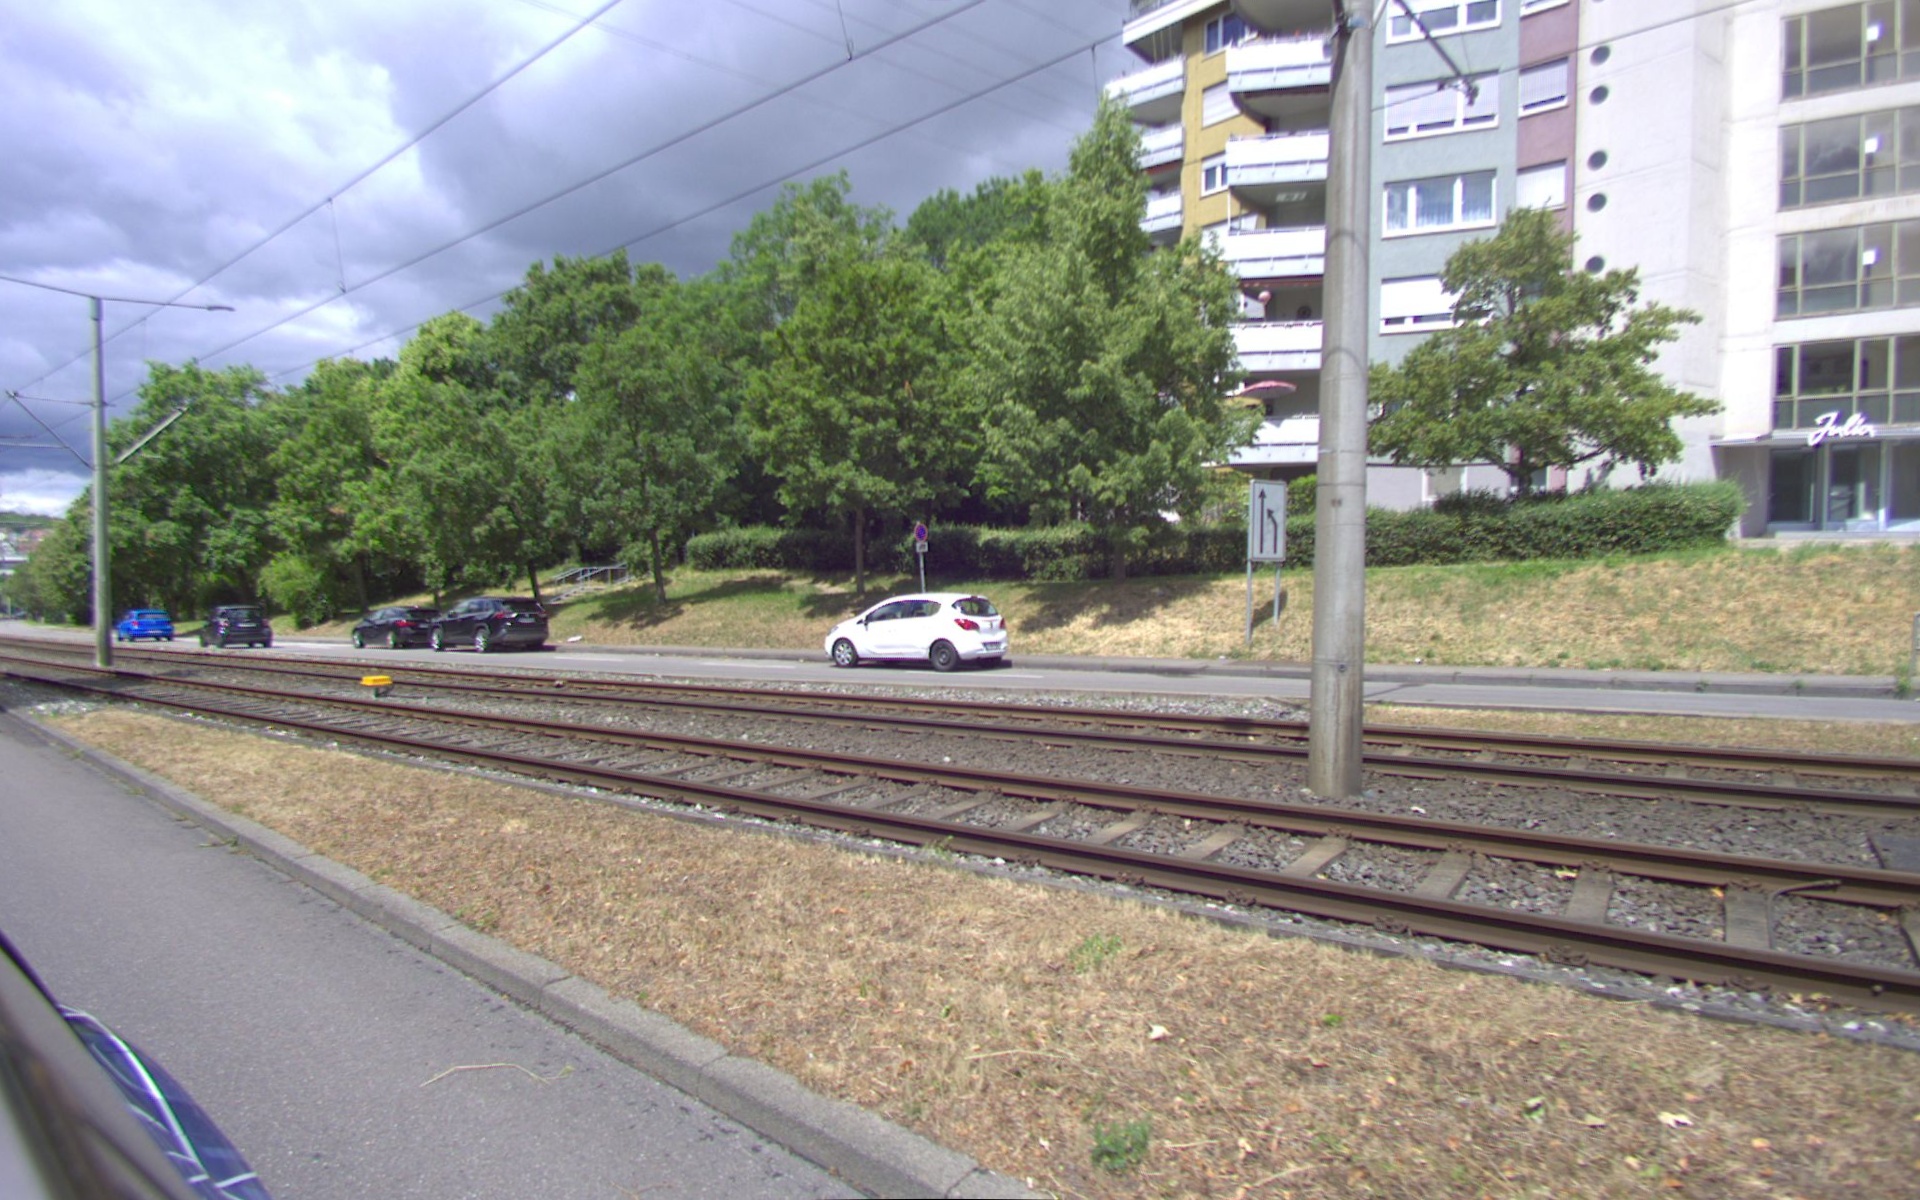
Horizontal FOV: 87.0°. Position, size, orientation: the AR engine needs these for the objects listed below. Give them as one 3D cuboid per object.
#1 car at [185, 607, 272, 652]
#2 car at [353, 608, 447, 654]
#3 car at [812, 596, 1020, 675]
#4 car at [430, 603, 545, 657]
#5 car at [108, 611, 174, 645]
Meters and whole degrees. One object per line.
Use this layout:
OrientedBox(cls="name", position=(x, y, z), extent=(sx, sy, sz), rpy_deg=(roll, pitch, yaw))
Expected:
OrientedBox(cls="car", position=(-26.616, 1.057, 36.785), extent=(3.733, 1.524, 1.638), rpy_deg=(-1, 0, 39))
OrientedBox(cls="car", position=(-19.017, 1.030, 34.340), extent=(3.465, 1.451, 1.586), rpy_deg=(-1, 0, 39))
OrientedBox(cls="car", position=(-0.935, 0.672, 20.258), extent=(3.990, 1.429, 1.640), rpy_deg=(-1, 0, 35))
OrientedBox(cls="car", position=(-14.275, 0.890, 30.527), extent=(3.733, 1.524, 1.638), rpy_deg=(-1, 0, 39))
OrientedBox(cls="car", position=(-38.344, 1.297, 47.344), extent=(3.733, 1.466, 1.616), rpy_deg=(-1, 0, 39))
